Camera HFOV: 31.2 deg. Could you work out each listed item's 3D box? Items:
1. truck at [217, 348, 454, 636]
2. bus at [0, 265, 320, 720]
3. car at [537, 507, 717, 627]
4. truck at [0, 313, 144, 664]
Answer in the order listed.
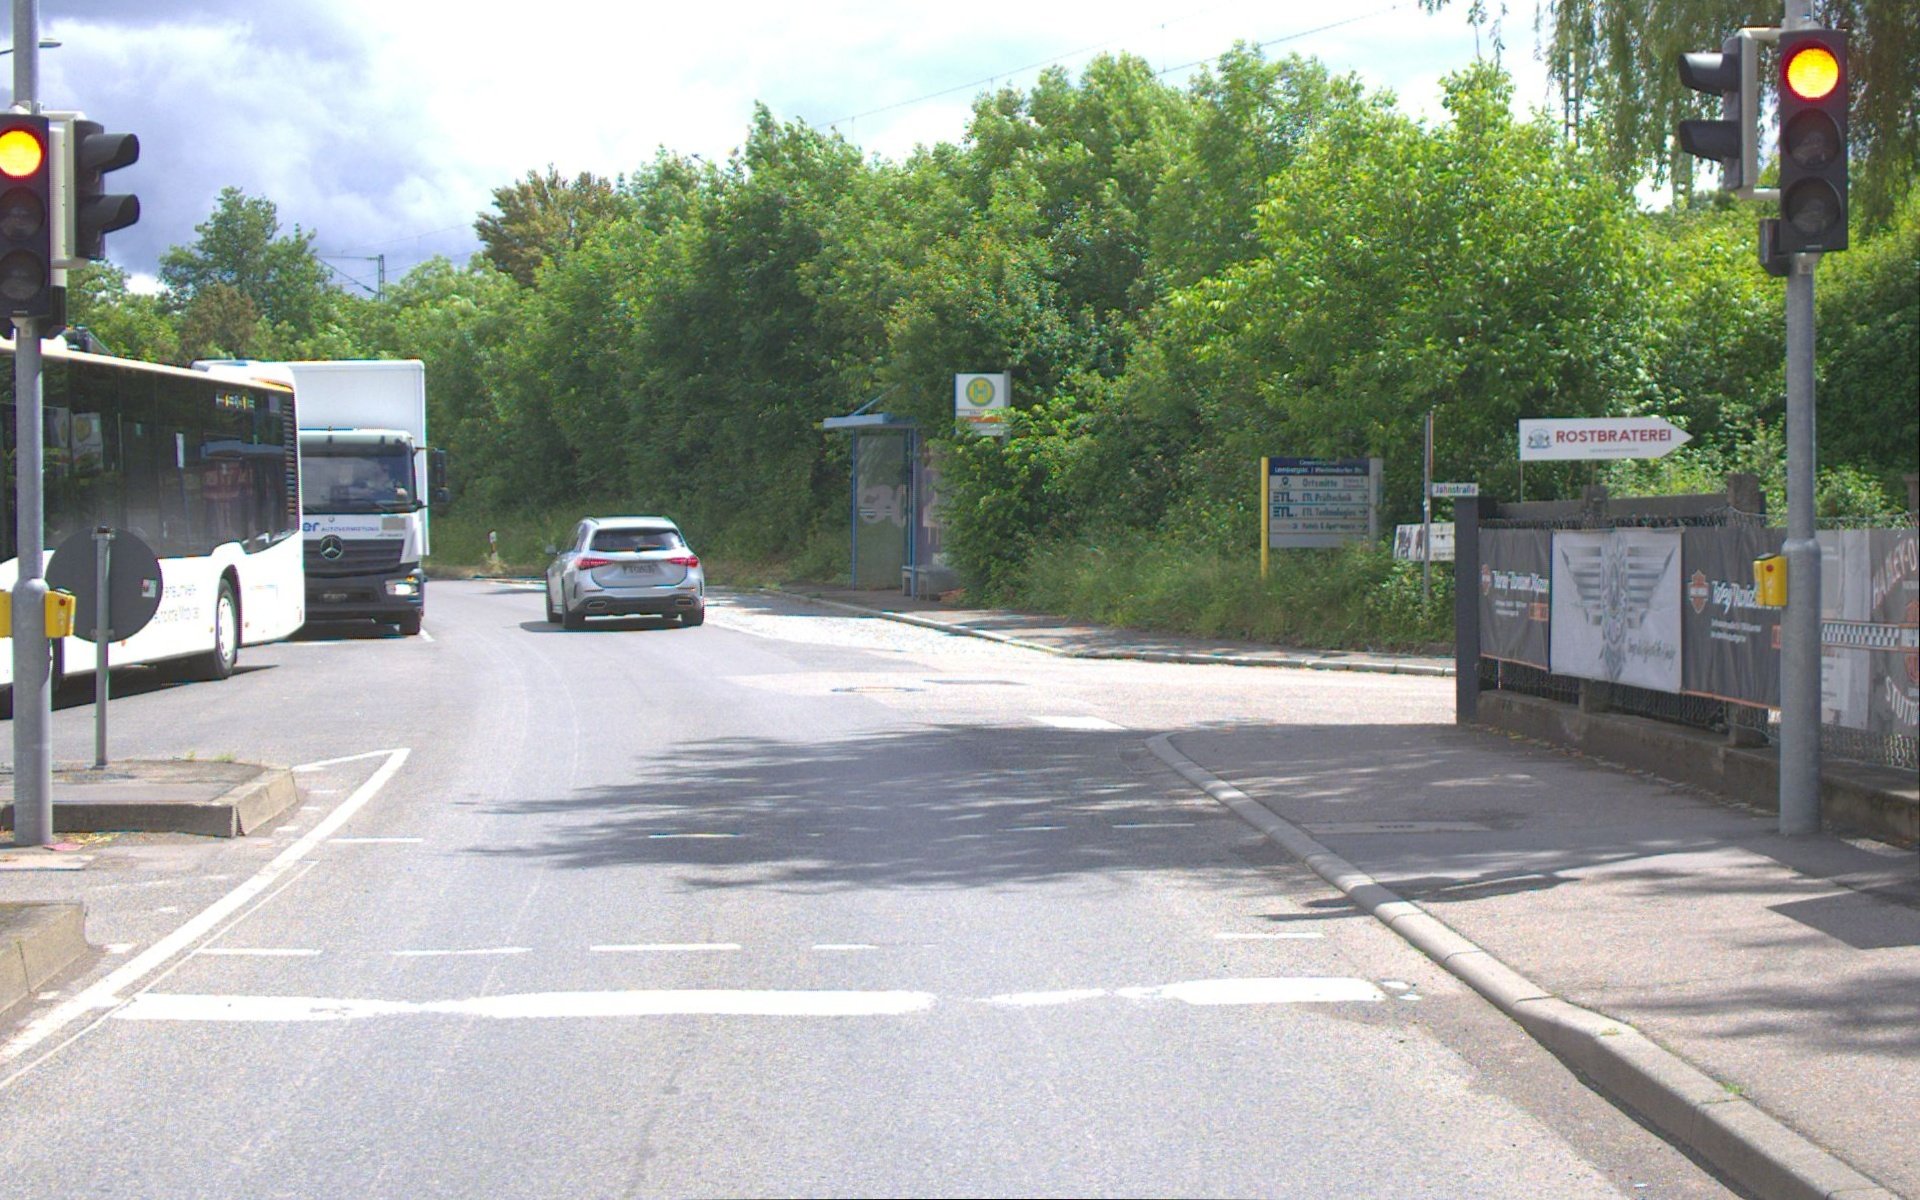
[{"bbox_3d":[-8.572,-1.455,47.177,2.839,3.528,9.728,-1,1,-10],"label":"truck"},{"bbox_3d":[-8.143,-0.835,29.274,2.777,3.255,12.123,-1,1,1],"label":"bus"},{"bbox_3d":[-4.476,-0.472,45.773,1.884,1.503,4.001,-1,1,-13],"label":"car"},{"bbox_3d":[-12.396,-1.429,45.008,2.428,4.117,9.153,2,1,-8],"label":"truck"}]
